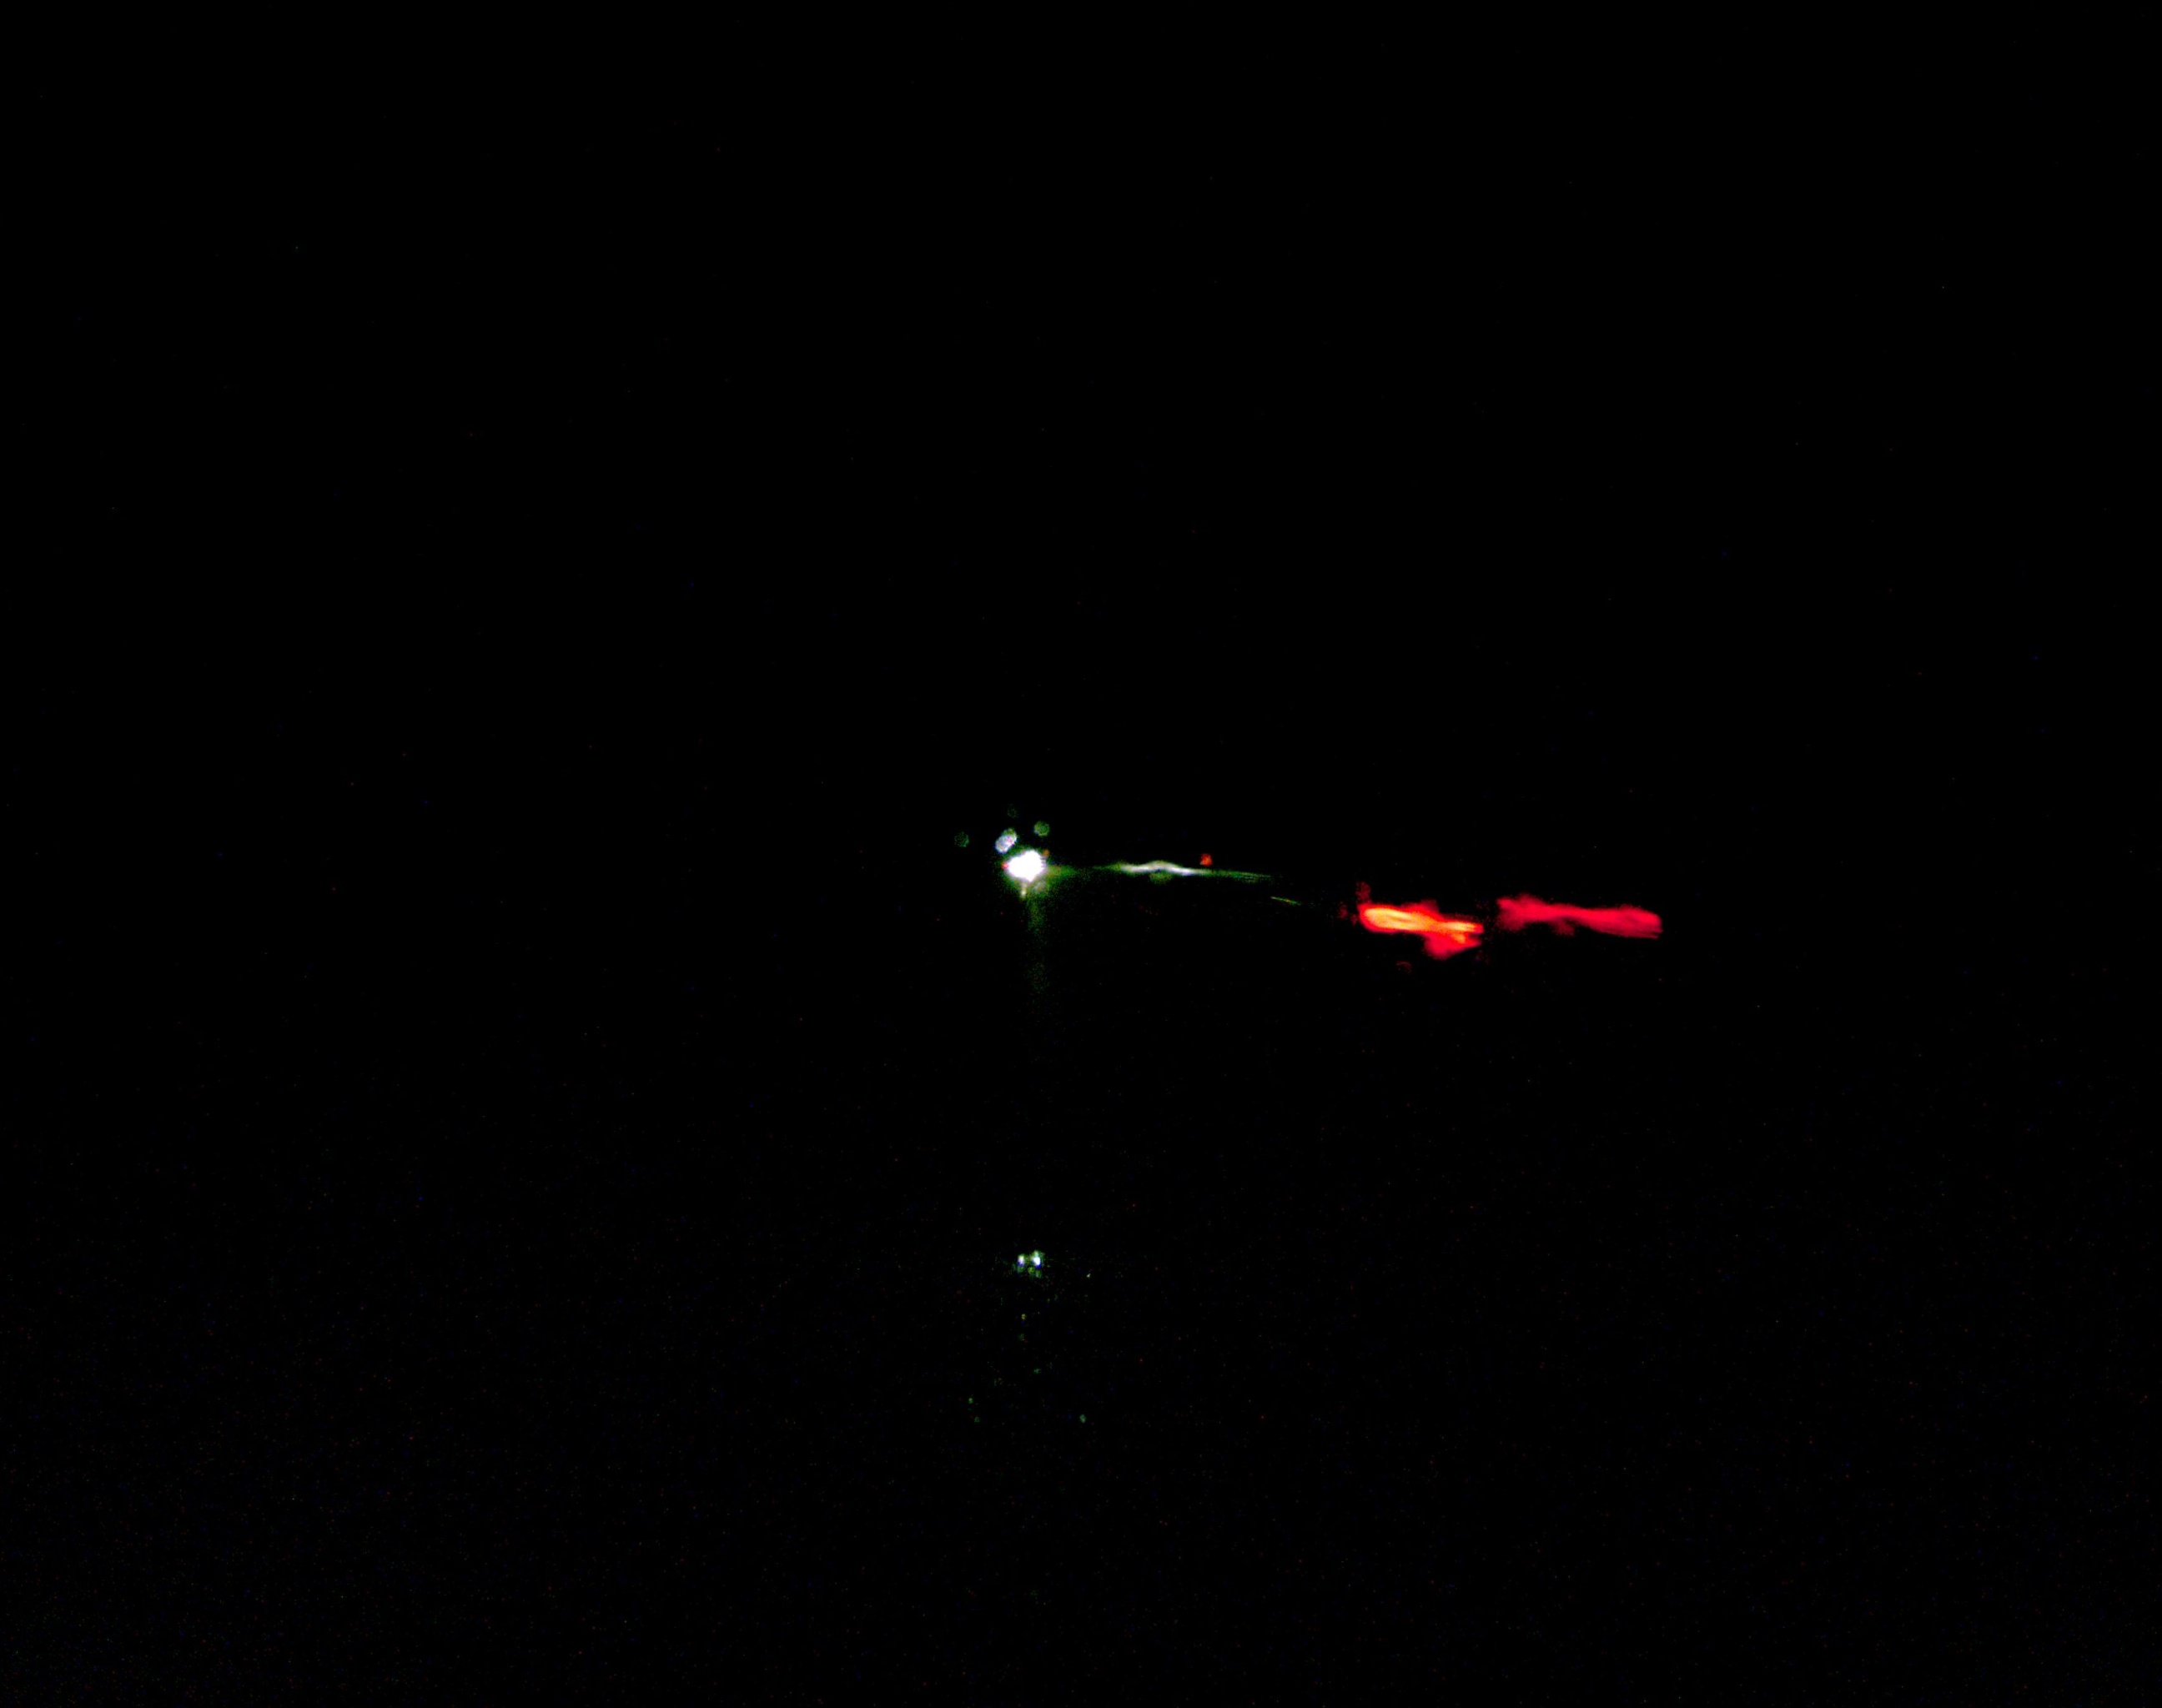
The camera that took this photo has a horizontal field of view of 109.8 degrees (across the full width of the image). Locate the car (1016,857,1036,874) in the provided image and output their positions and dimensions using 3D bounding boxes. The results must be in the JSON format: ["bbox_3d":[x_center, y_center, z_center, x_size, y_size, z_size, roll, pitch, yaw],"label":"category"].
[{"bbox_3d":[-6.177,1.323,85.139,2.000,1.723,3.999,4,-1,-5],"label":"car"}]

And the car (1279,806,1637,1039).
[{"bbox_3d":[3.630,0.559,8.238,1.762,1.857,3.999,-2,0,-2],"label":"car"}]
